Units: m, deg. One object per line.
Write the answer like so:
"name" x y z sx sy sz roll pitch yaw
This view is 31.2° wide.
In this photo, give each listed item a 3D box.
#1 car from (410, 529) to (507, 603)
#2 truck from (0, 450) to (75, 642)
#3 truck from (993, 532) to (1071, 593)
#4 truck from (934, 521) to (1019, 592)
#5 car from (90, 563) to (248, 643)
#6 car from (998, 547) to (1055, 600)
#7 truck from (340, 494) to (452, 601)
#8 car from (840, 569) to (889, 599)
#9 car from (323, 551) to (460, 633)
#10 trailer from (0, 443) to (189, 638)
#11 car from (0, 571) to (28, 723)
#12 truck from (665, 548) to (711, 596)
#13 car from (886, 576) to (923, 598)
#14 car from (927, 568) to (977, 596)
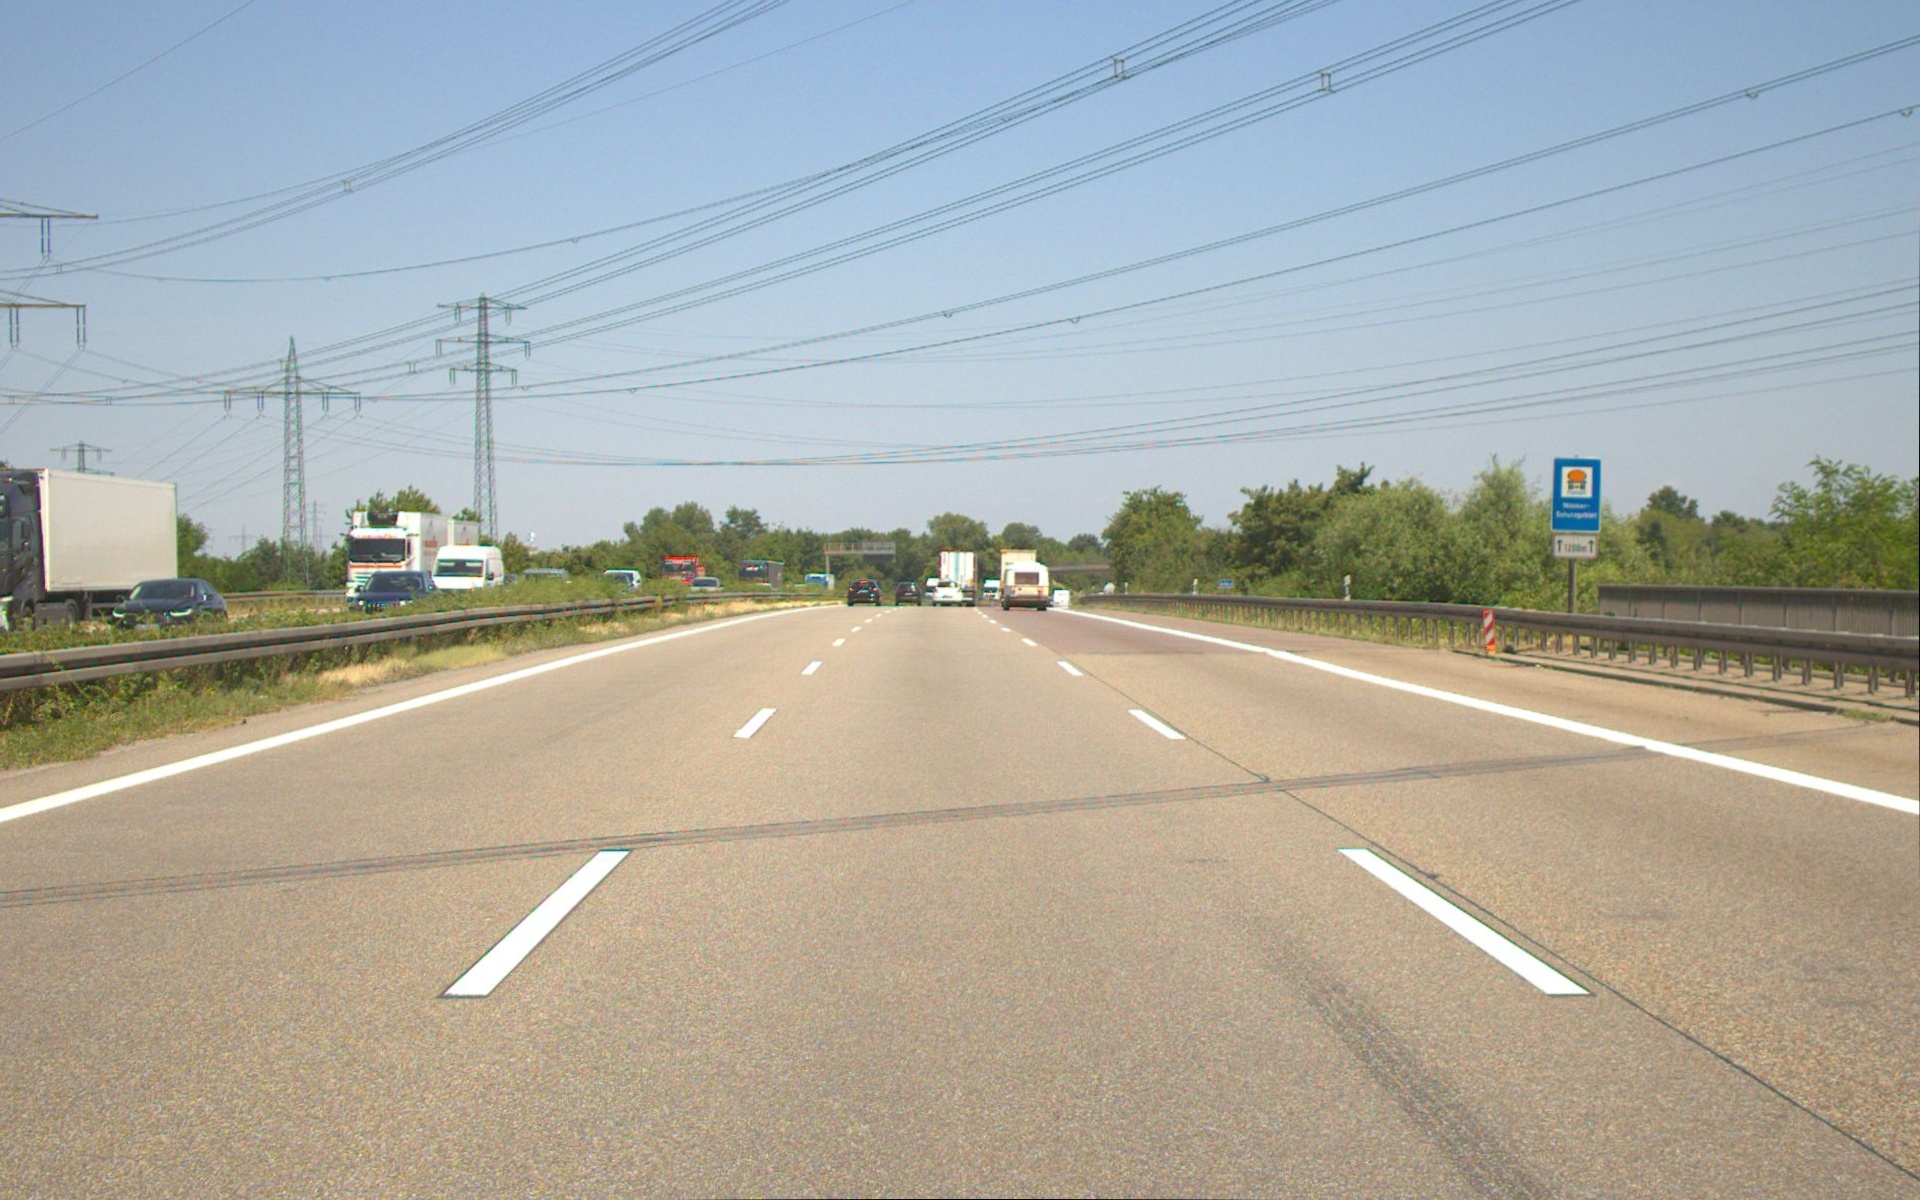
"car" -18.112 -1.257 124.525 2.482 2.571 7.122 1 1 -1
"truck" -21.356 -1.211 75.756 2.423 4.097 4.921 1 1 -1
"truck" 5.423 -2.801 254.128 3.182 4.290 16.010 1 1 10
"truck" 1.334 -3.247 256.849 3.668 5.001 16.011 1 1 10
"car" -17.323 0.041 75.506 2.387 1.634 4.820 1 1 -1
"car" 2.988 -1.219 155.584 2.442 2.313 5.322 0 1 -1
"truck" -21.891 -2.057 133.952 2.692 3.936 10.594 1 1 -1
"car" -5.232 -0.864 188.490 1.828 1.542 4.317 2 0 10
"car" -14.083 -0.236 85.567 2.482 1.925 5.739 1 1 -1
"trailer" -21.432 -1.448 83.125 2.423 4.275 14.433 1 1 -1
"car" -13.822 0.622 44.494 2.297 2.007 4.557 1 1 -1
"truck" -20.616 -2.157 260.818 2.770 3.515 8.533 1 1 0
"car" -3.938 -0.926 245.338 1.828 1.542 4.317 2 0 10
"car" -0.455 -1.039 201.089 1.829 1.542 4.316 2 0 14
